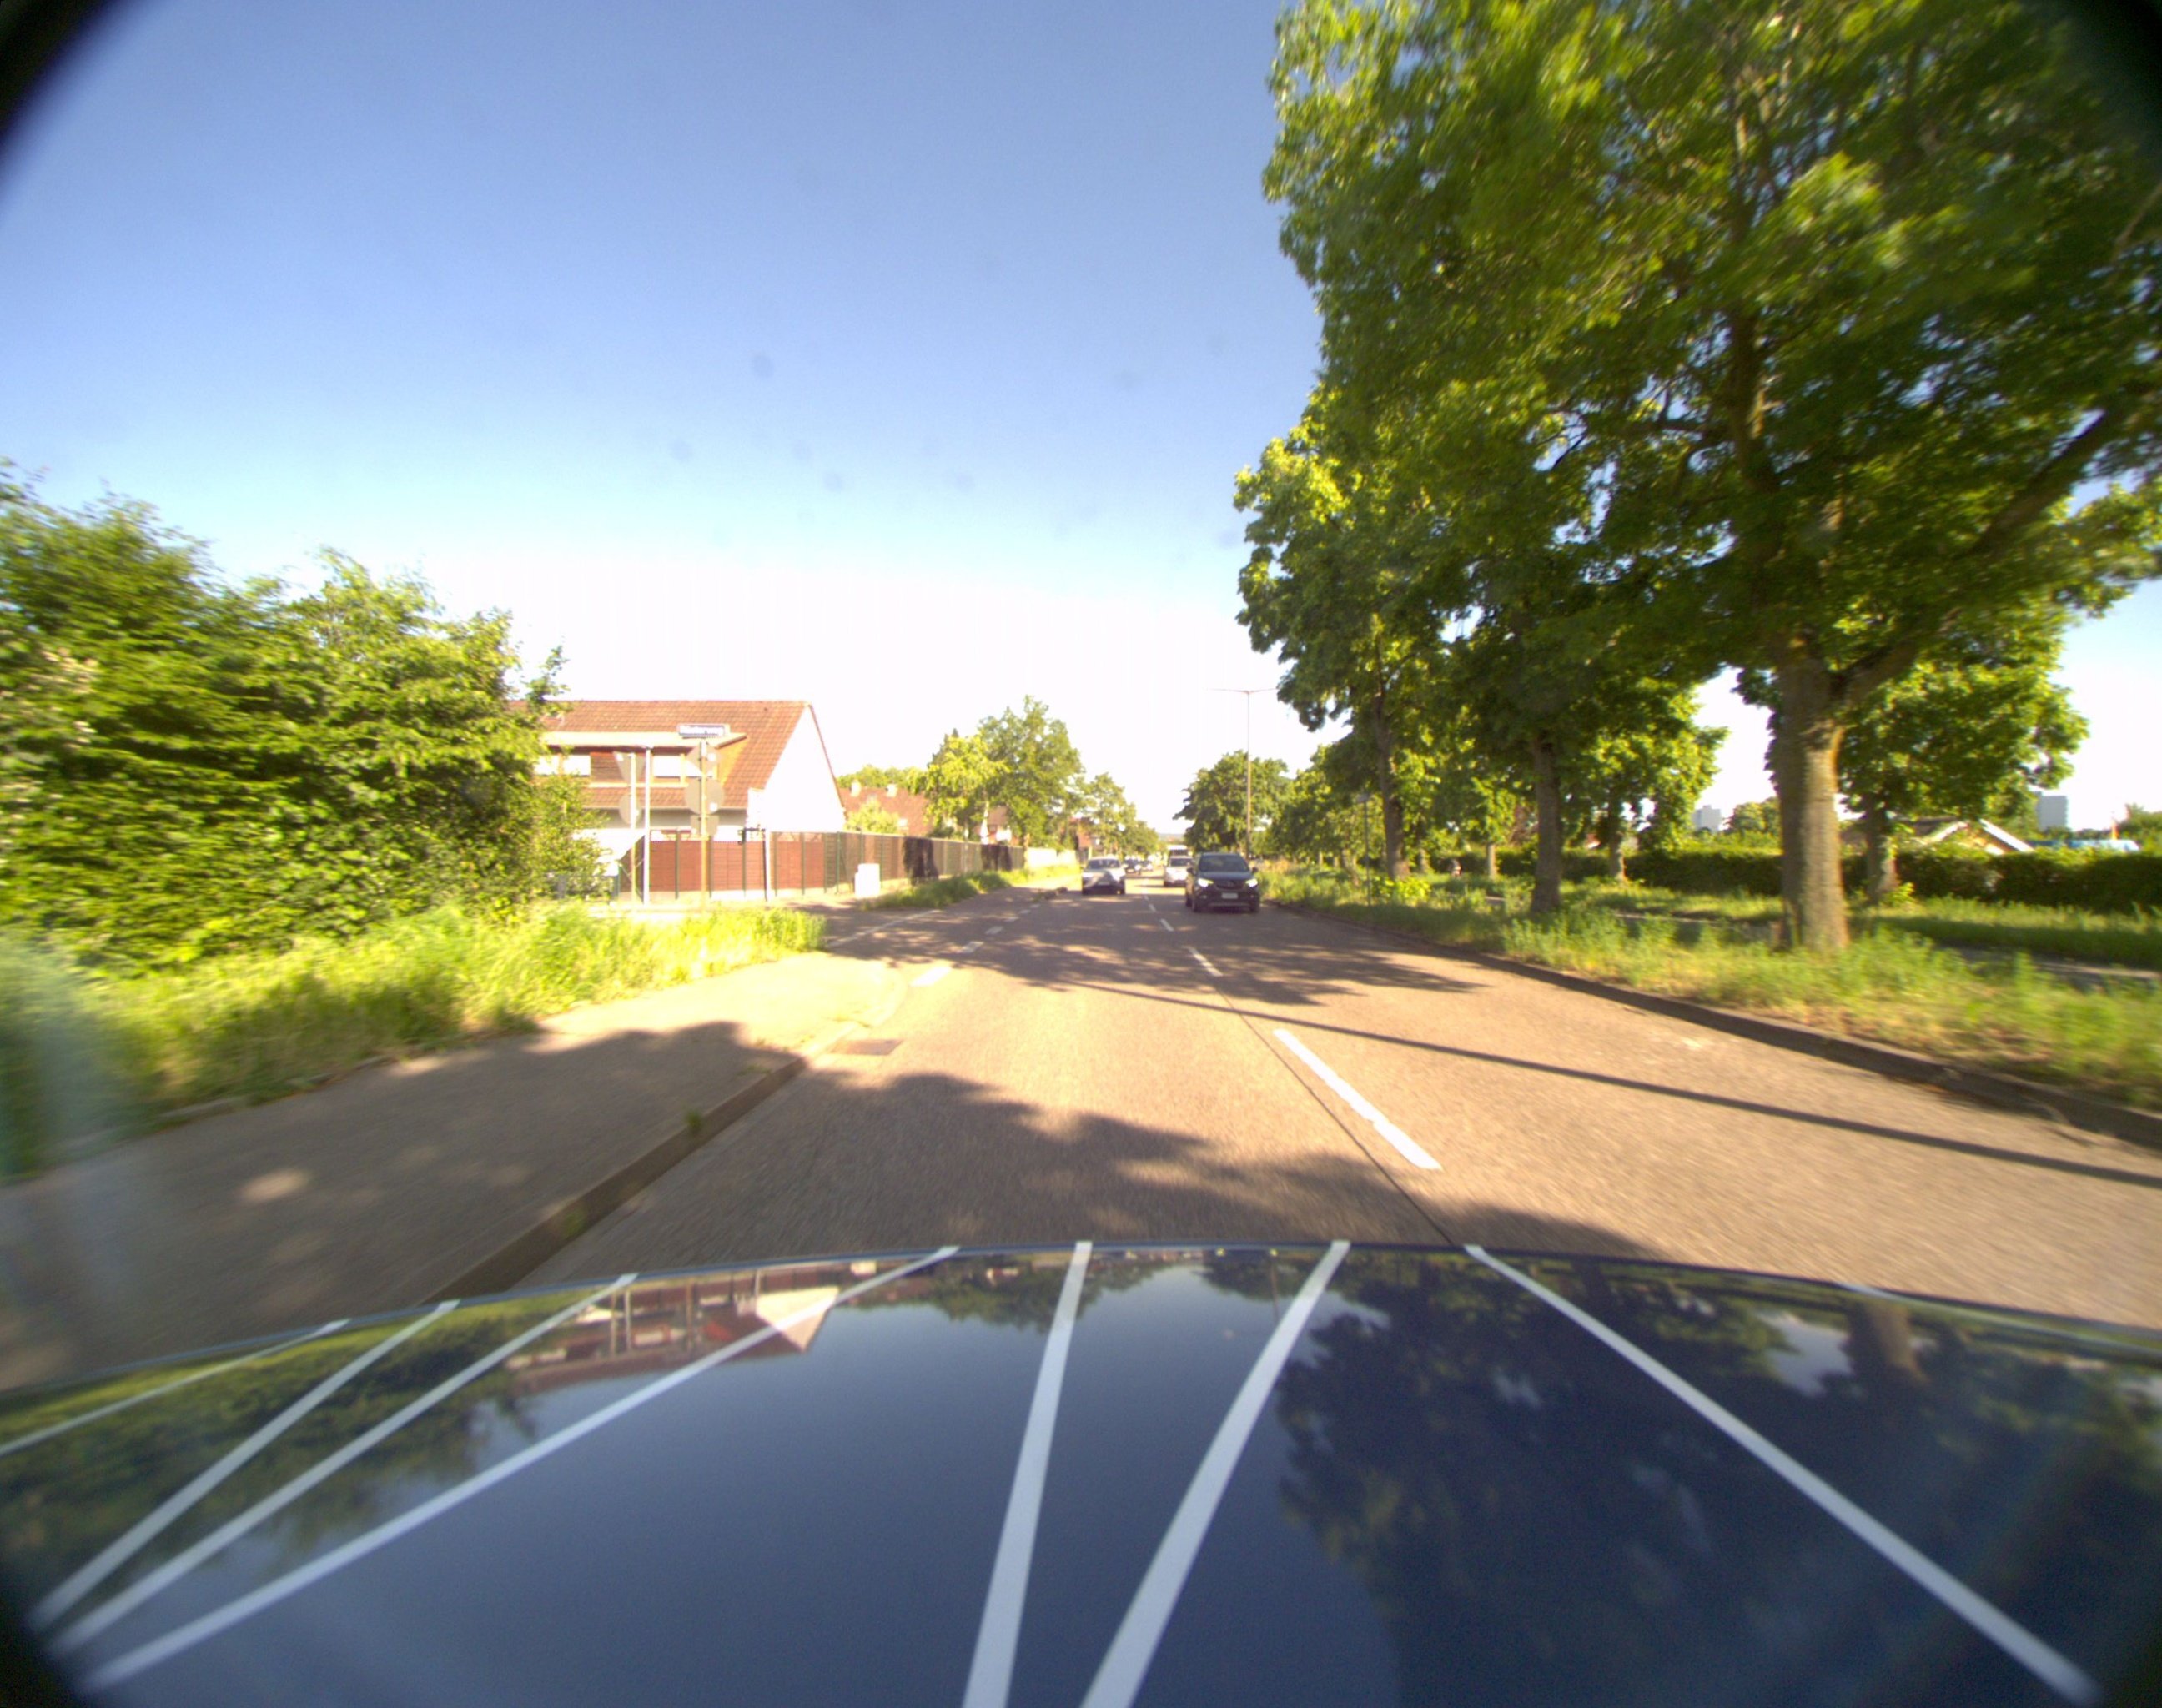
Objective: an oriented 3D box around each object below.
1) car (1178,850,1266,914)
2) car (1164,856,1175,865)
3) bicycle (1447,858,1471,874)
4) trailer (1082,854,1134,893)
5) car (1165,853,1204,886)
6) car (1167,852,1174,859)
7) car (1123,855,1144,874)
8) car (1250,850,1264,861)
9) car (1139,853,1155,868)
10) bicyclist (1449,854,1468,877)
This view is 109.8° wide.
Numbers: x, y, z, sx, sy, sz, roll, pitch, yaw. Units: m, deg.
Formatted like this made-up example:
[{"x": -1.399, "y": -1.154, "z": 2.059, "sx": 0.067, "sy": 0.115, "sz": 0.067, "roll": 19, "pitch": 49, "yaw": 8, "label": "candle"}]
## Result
[{"x": 3.959, "y": 0.725, "z": 22.004, "sx": 1.811, "sy": 1.605, "sz": 4.514, "roll": 0, "pitch": 1, "yaw": 2, "label": "car"}, {"x": 18.360, "y": 1.373, "z": 157.629, "sx": 1.998, "sy": 1.674, "sz": 4.000, "roll": 0, "pitch": 0, "yaw": 3, "label": "car"}, {"x": 23.195, "y": 0.728, "z": 46.637, "sx": 0.691, "sy": 0.990, "sz": 1.842, "roll": 0, "pitch": 0, "yaw": 5, "label": "bicycle"}, {"x": 1.258, "y": 0.795, "z": 33.292, "sx": 1.896, "sy": 1.585, "sz": 4.002, "roll": -1, "pitch": 0, "yaw": 7, "label": "trailer"}, {"x": 5.311, "y": 0.747, "z": 39.047, "sx": 1.822, "sy": 1.553, "sz": 4.649, "roll": 0, "pitch": 0, "yaw": 8, "label": "car"}, {"x": 28.505, "y": 0.572, "z": 242.479, "sx": 1.998, "sy": 2.069, "sz": 4.000, "roll": -2, "pitch": 0, "yaw": 2, "label": "car"}, {"x": 4.802, "y": 0.954, "z": 69.712, "sx": 1.823, "sy": 1.553, "sz": 4.273, "roll": 0, "pitch": 1, "yaw": 5, "label": "car"}, {"x": 28.577, "y": 0.243, "z": 123.638, "sx": 1.942, "sy": 1.647, "sz": 4.002, "roll": -2, "pitch": 0, "yaw": 8, "label": "car"}, {"x": 7.727, "y": 0.746, "z": 88.884, "sx": 1.823, "sy": 1.587, "sz": 4.274, "roll": -1, "pitch": 0, "yaw": 5, "label": "car"}, {"x": 23.215, "y": 0.691, "z": 46.721, "sx": 0.691, "sy": 1.412, "sz": 1.001, "roll": 0, "pitch": 0, "yaw": 5, "label": "bicyclist"}]
